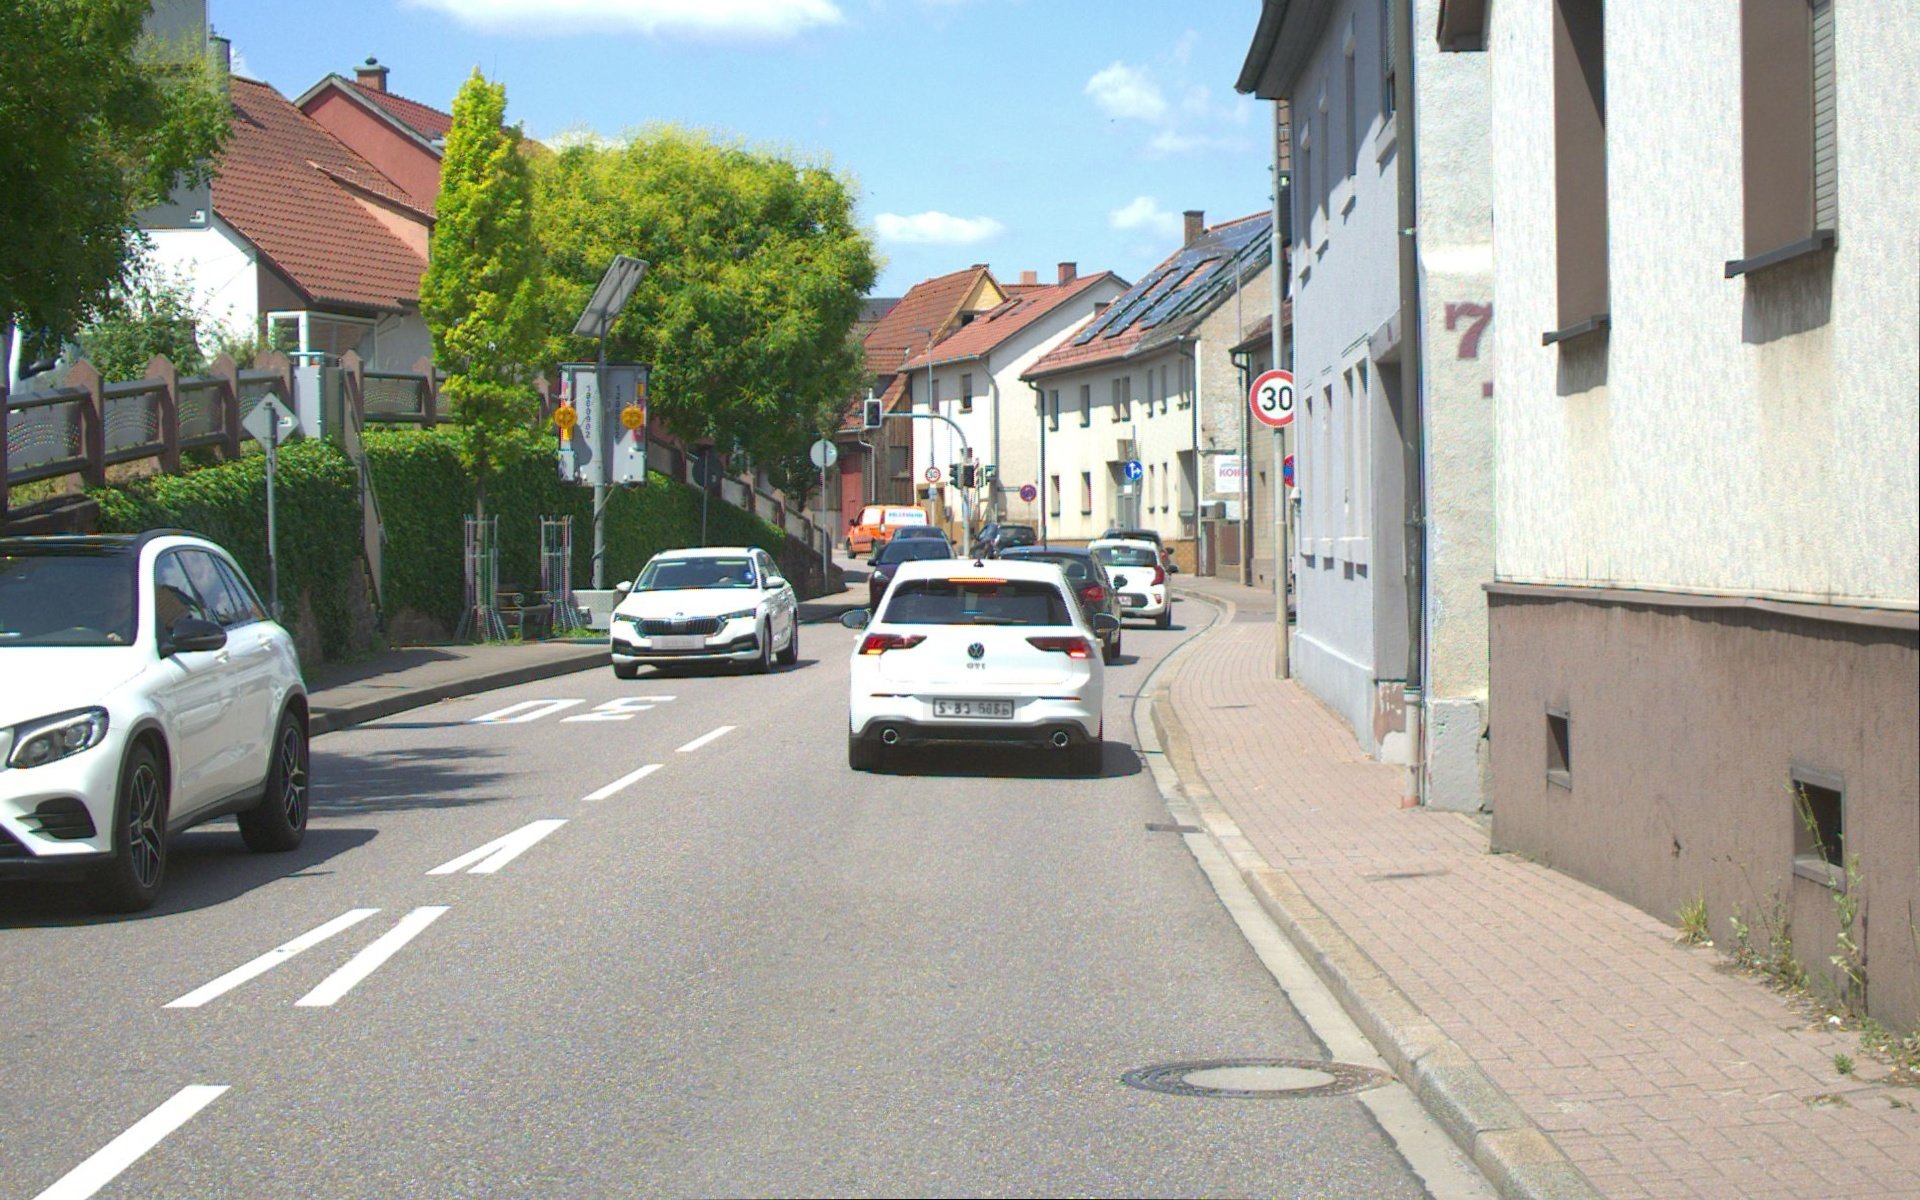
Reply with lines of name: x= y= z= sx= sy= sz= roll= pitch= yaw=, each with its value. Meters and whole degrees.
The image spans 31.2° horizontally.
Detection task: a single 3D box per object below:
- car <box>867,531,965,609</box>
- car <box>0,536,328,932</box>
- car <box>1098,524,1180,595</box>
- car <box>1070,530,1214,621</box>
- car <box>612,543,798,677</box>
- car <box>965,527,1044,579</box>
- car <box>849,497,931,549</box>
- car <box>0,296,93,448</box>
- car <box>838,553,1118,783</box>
car: x=-0.849 y=-0.609 z=68.325 sx=1.617 sy=1.439 sz=3.801 roll=-2 pitch=1 yaw=4
car: x=-4.310 y=0.507 z=15.965 sx=1.842 sy=1.574 sz=4.445 roll=-1 pitch=1 yaw=1
car: x=3.981 y=-0.931 z=76.816 sx=1.775 sy=1.533 sz=4.000 roll=0 pitch=1 yaw=2
car: x=3.155 y=-0.430 z=58.789 sx=1.809 sy=1.462 sz=3.998 roll=1 pitch=1 yaw=12
car: x=-2.952 y=0.075 z=40.580 sx=1.813 sy=1.442 sz=4.430 roll=-2 pitch=1 yaw=0
car: x=1.338 y=-1.437 z=104.291 sx=1.775 sy=1.533 sz=4.001 roll=0 pitch=1 yaw=-8
car: x=-2.432 y=-2.649 z=118.687 sx=1.775 sy=1.759 sz=4.001 roll=-1 pitch=1 yaw=-18
car: x=-10.139 y=-2.381 z=35.368 sx=1.576 sy=1.357 sz=3.857 roll=0 pitch=7 yaw=-2
car: x=0.110 y=0.420 z=24.624 sx=1.808 sy=1.462 sz=4.000 roll=1 pitch=1 yaw=0
